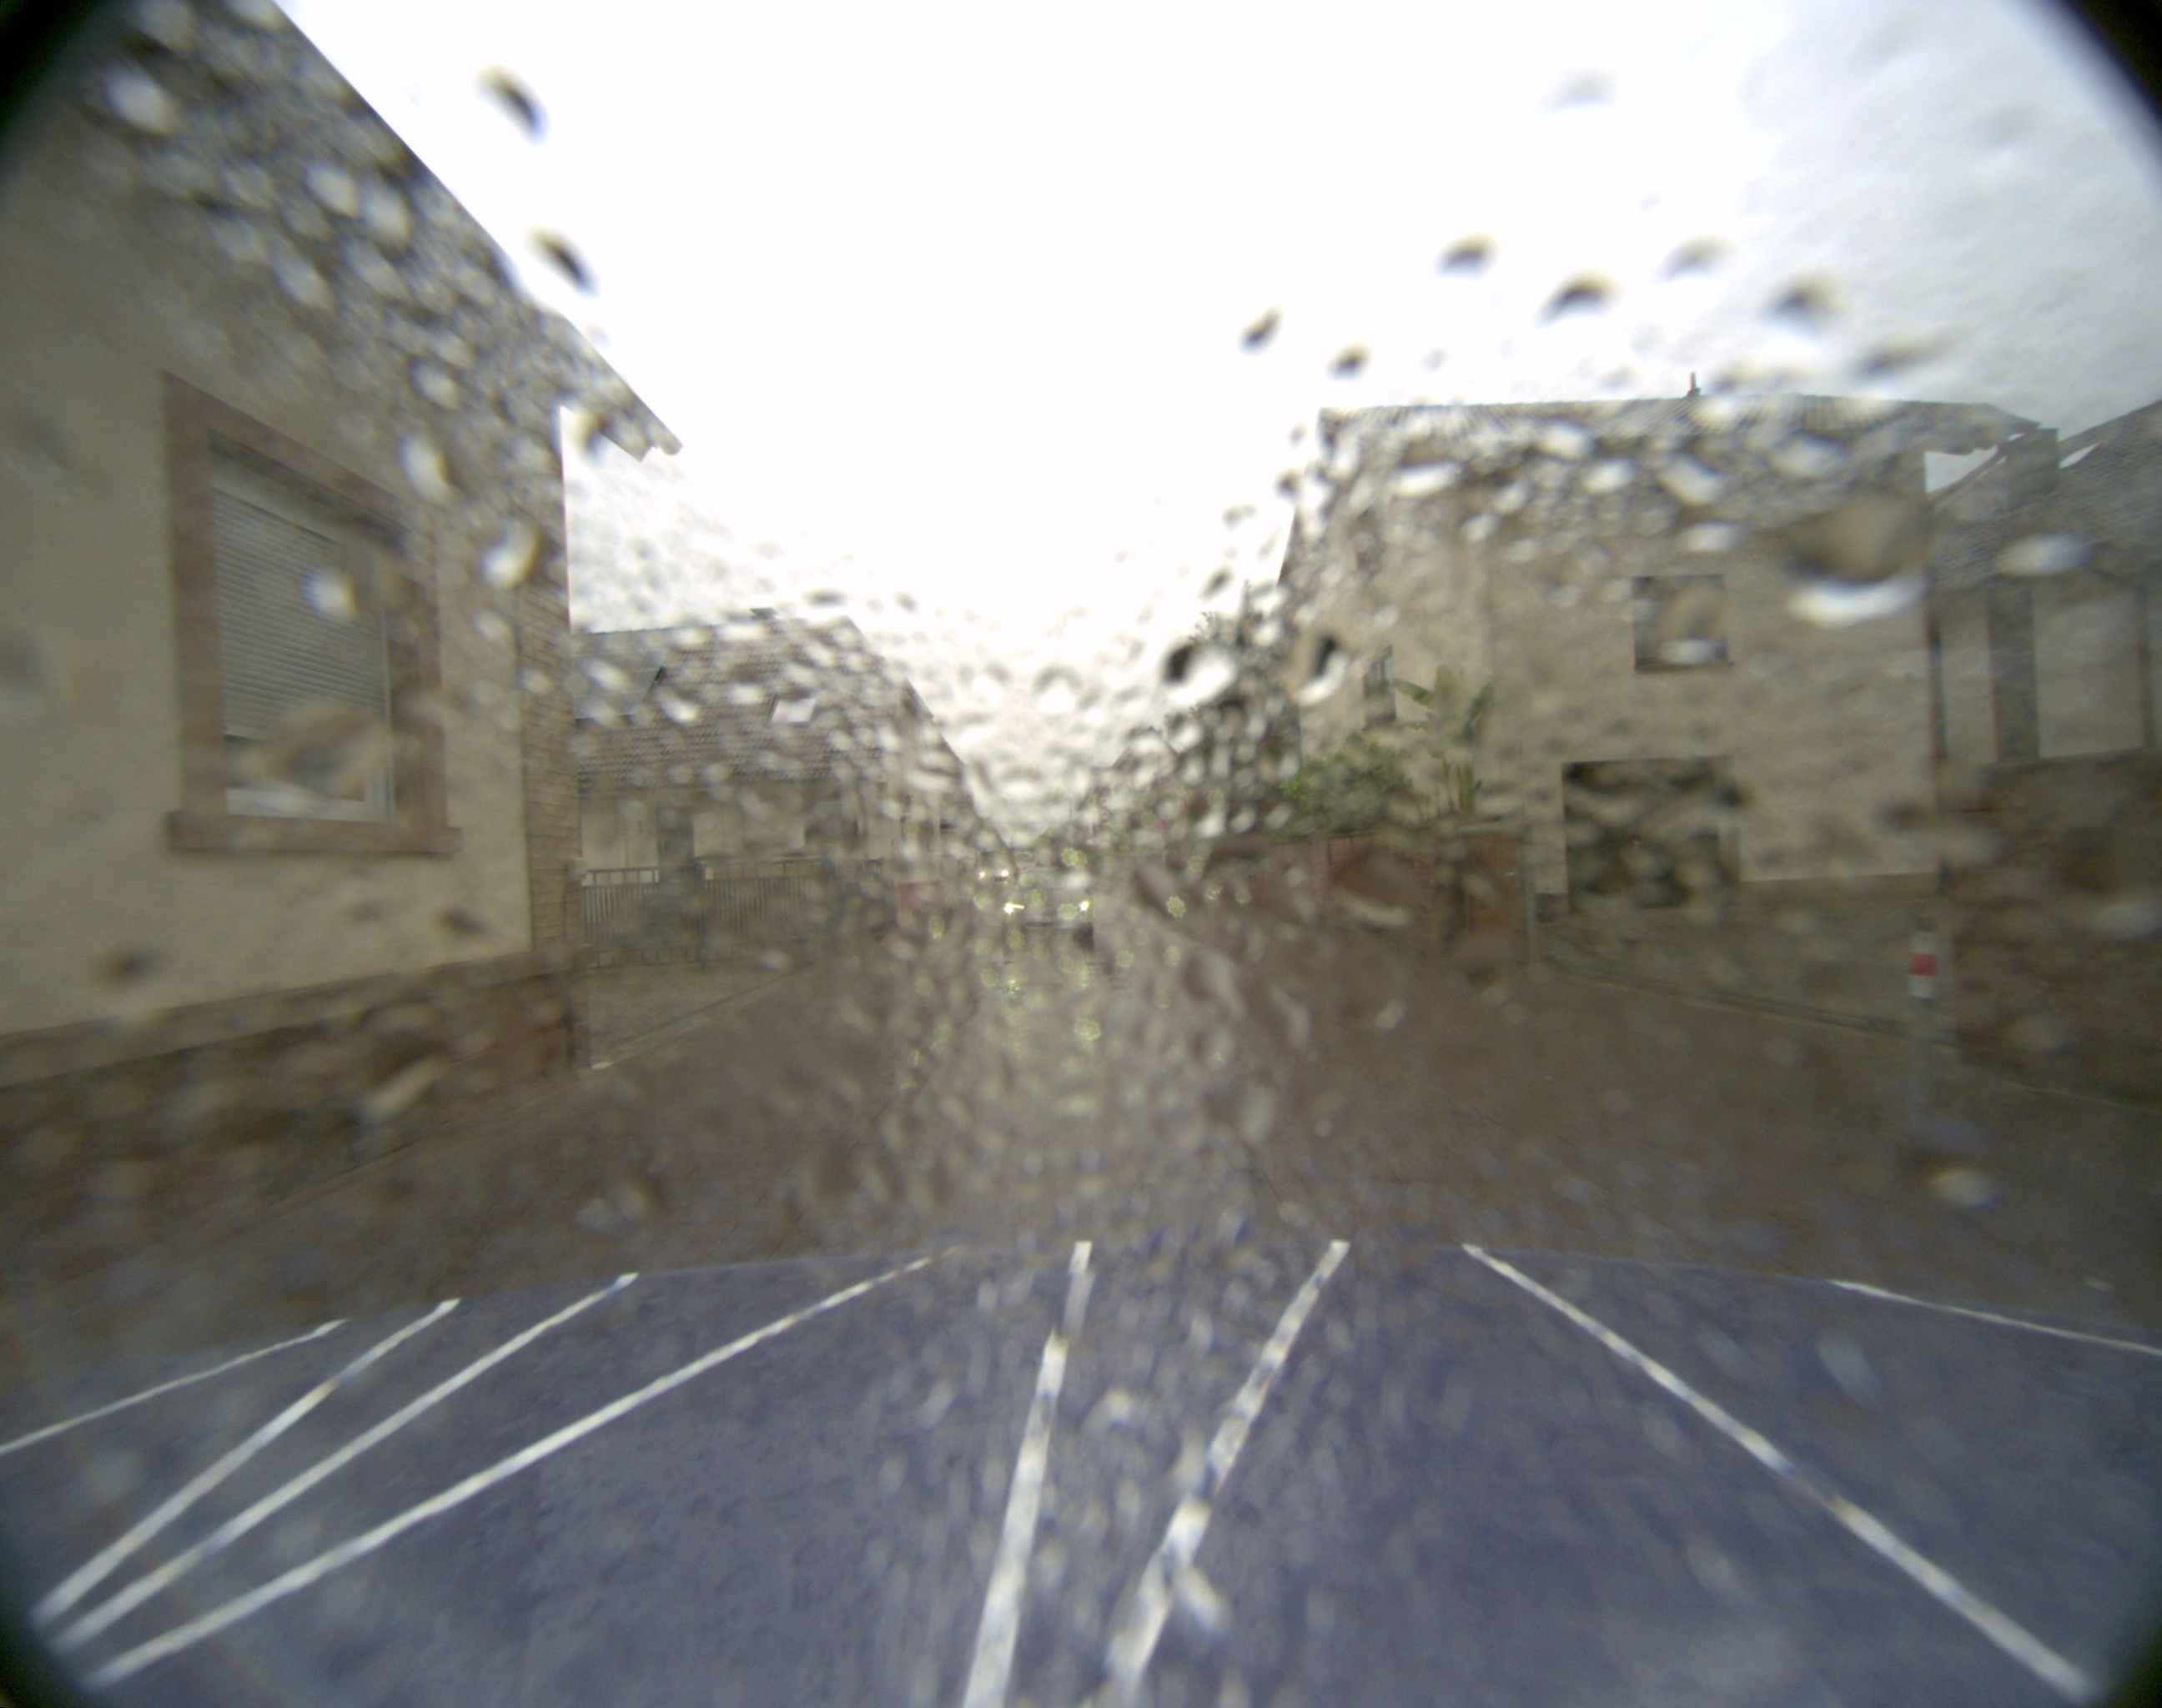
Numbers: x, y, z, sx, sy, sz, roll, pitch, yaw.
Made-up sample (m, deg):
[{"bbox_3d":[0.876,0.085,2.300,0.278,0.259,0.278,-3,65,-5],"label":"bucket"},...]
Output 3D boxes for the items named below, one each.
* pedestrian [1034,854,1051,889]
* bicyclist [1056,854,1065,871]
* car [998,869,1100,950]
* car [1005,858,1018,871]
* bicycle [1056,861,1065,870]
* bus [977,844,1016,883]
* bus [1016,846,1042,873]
[{"bbox_3d":[-1.965,0.901,38.824,0.696,1.722,0.820,-4,1,-8],"label":"pedestrian"},{"bbox_3d":[-2.133,0.901,79.322,0.659,1.759,0.703,-4,-1,-10],"label":"bicyclist"},{"bbox_3d":[-0.808,1.062,16.175,1.781,1.348,4.186,-3,0,-7],"label":"car"},{"bbox_3d":[-12.013,1.842,131.322,2.000,2.002,4.241,-4,1,-8],"label":"car"},{"bbox_3d":[-2.120,1.171,79.324,0.663,0.865,1.934,-4,-2,-9],"label":"bicycle"},{"bbox_3d":[-8.855,0.929,78.014,3.443,3.391,13.861,-3,0,-8],"label":"bus"},{"bbox_3d":[-6.392,0.710,94.361,2.814,2.921,11.937,-4,0,-4],"label":"bus"}]
